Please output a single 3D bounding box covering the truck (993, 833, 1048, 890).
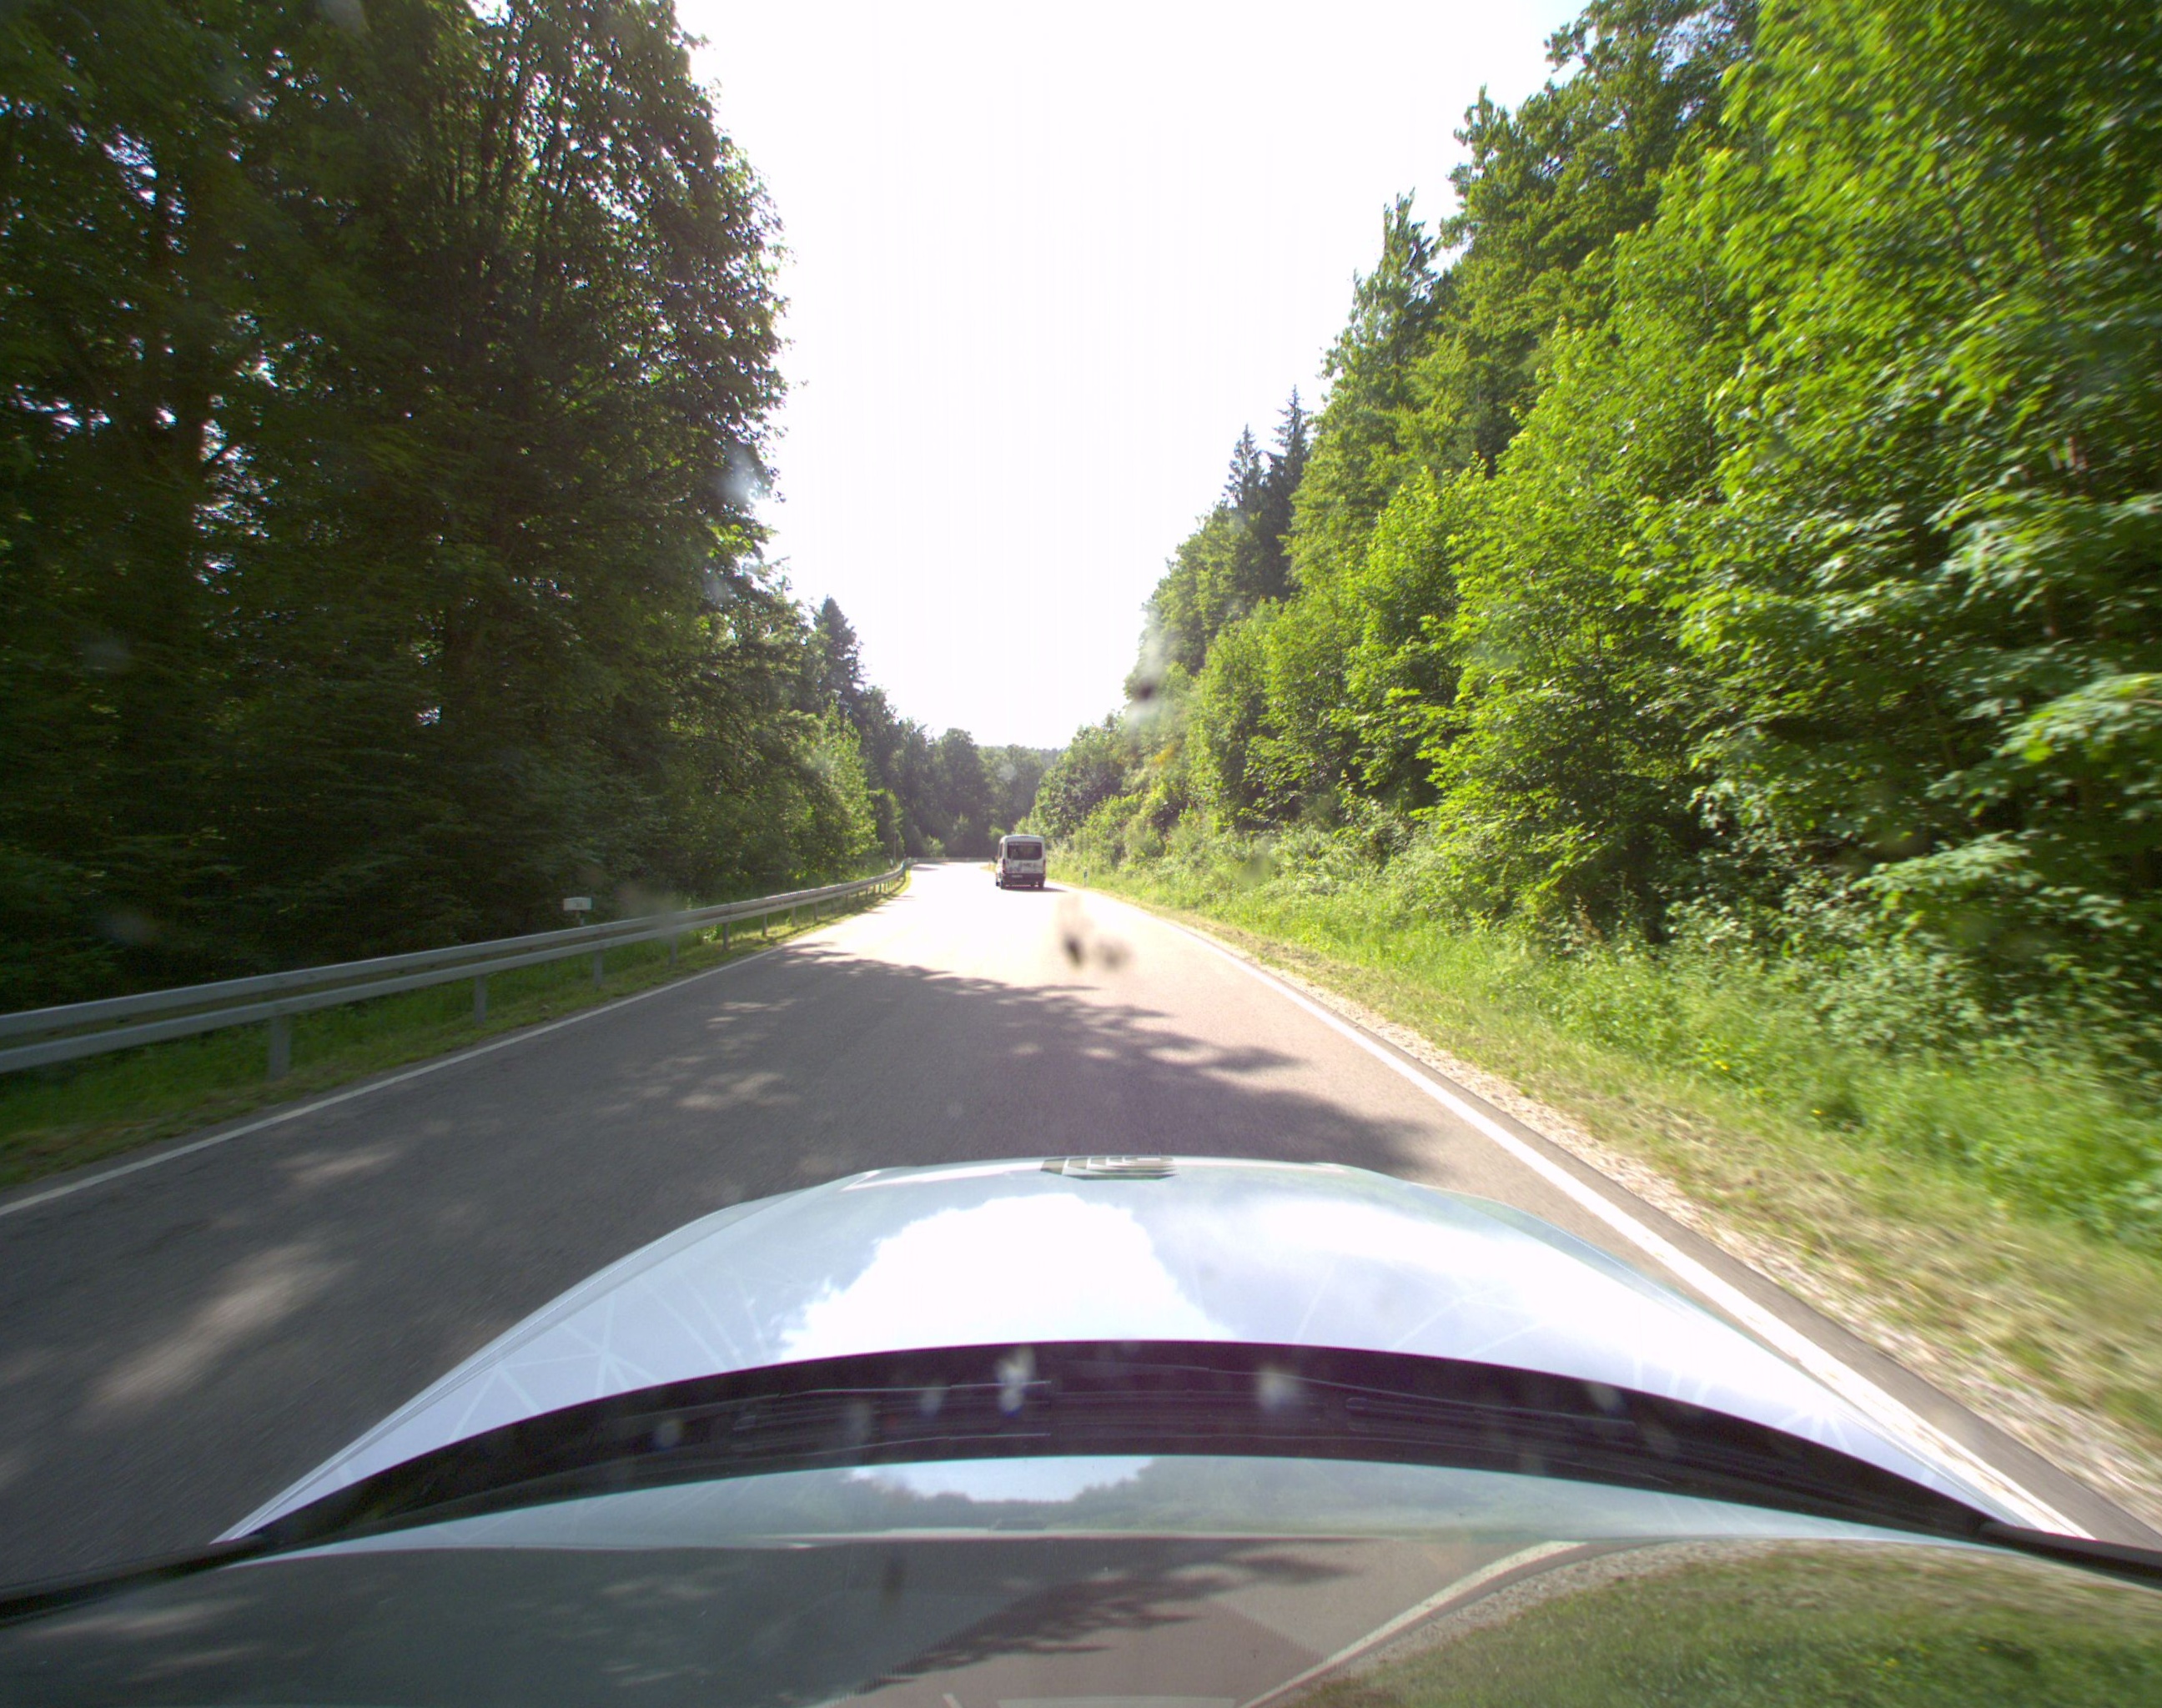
[{"bbox_3d":[-2.964,0.339,38.825,2.115,2.498,5.342,0,0,-9],"label":"truck"}]
